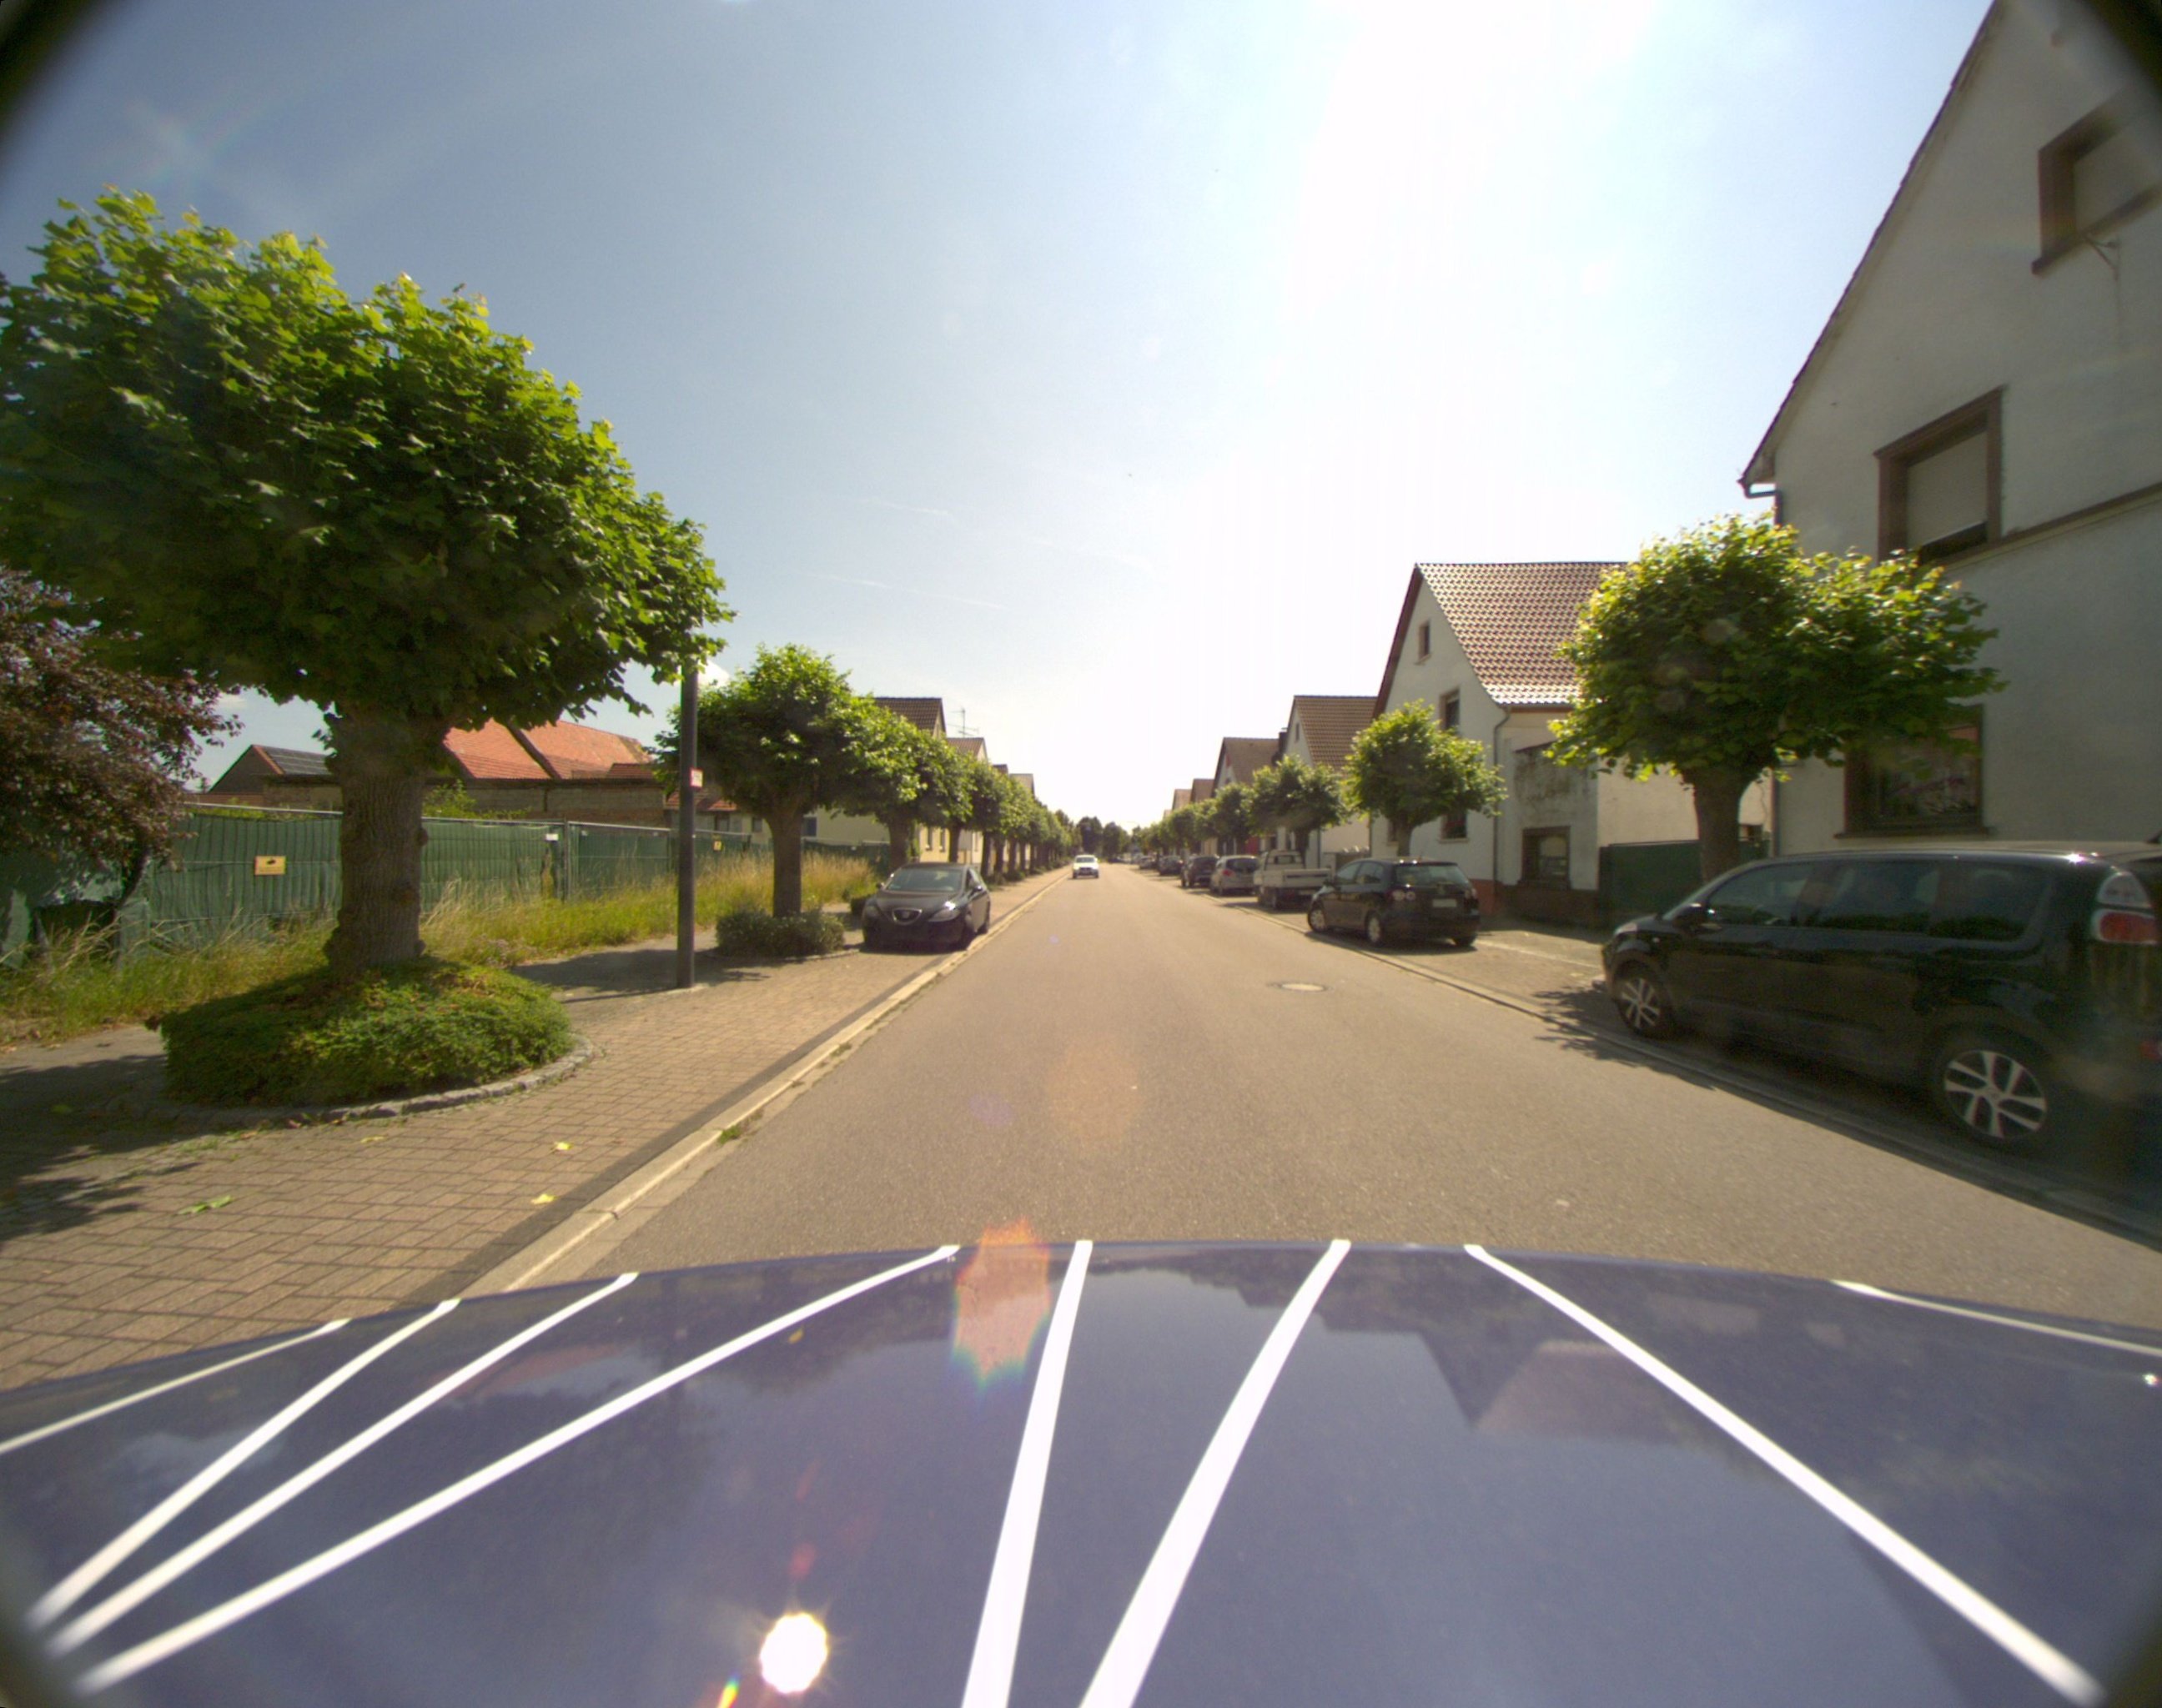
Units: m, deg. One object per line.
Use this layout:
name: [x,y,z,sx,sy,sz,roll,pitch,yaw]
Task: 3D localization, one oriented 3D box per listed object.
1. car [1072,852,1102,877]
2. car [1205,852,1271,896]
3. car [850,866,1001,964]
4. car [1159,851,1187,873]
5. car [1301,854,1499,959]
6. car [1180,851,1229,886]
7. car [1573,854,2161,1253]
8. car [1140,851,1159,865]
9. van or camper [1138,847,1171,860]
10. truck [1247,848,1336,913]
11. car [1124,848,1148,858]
car: [0.440,0.722,52.932,1.857,1.603,4.135,-2,0,3]
car: [6.441,0.775,31.588,1.857,1.604,4.370,-2,1,1]
car: [-2.667,0.988,14.013,1.828,1.424,4.057,2,0,1]
car: [7.184,0.575,59.517,1.857,1.603,4.135,-2,0,3]
car: [5.723,0.846,14.229,1.791,1.624,3.998,-1,0,-4]
car: [6.246,0.700,38.903,1.857,1.626,4.299,-2,0,1]
car: [5.596,0.858,5.209,1.857,1.626,4.056,-2,1,1]
car: [7.874,0.402,87.745,1.829,1.474,4.132,-2,1,1]
van or camper: [11.113,-0.038,115.619,4.752,1.851,2.000,-2,0,0]
truck: [6.341,0.728,23.296,1.580,1.755,4.192,-2,0,1]
car: [10.101,-0.131,139.865,4.251,1.709,1.945,-2,1,-4]
